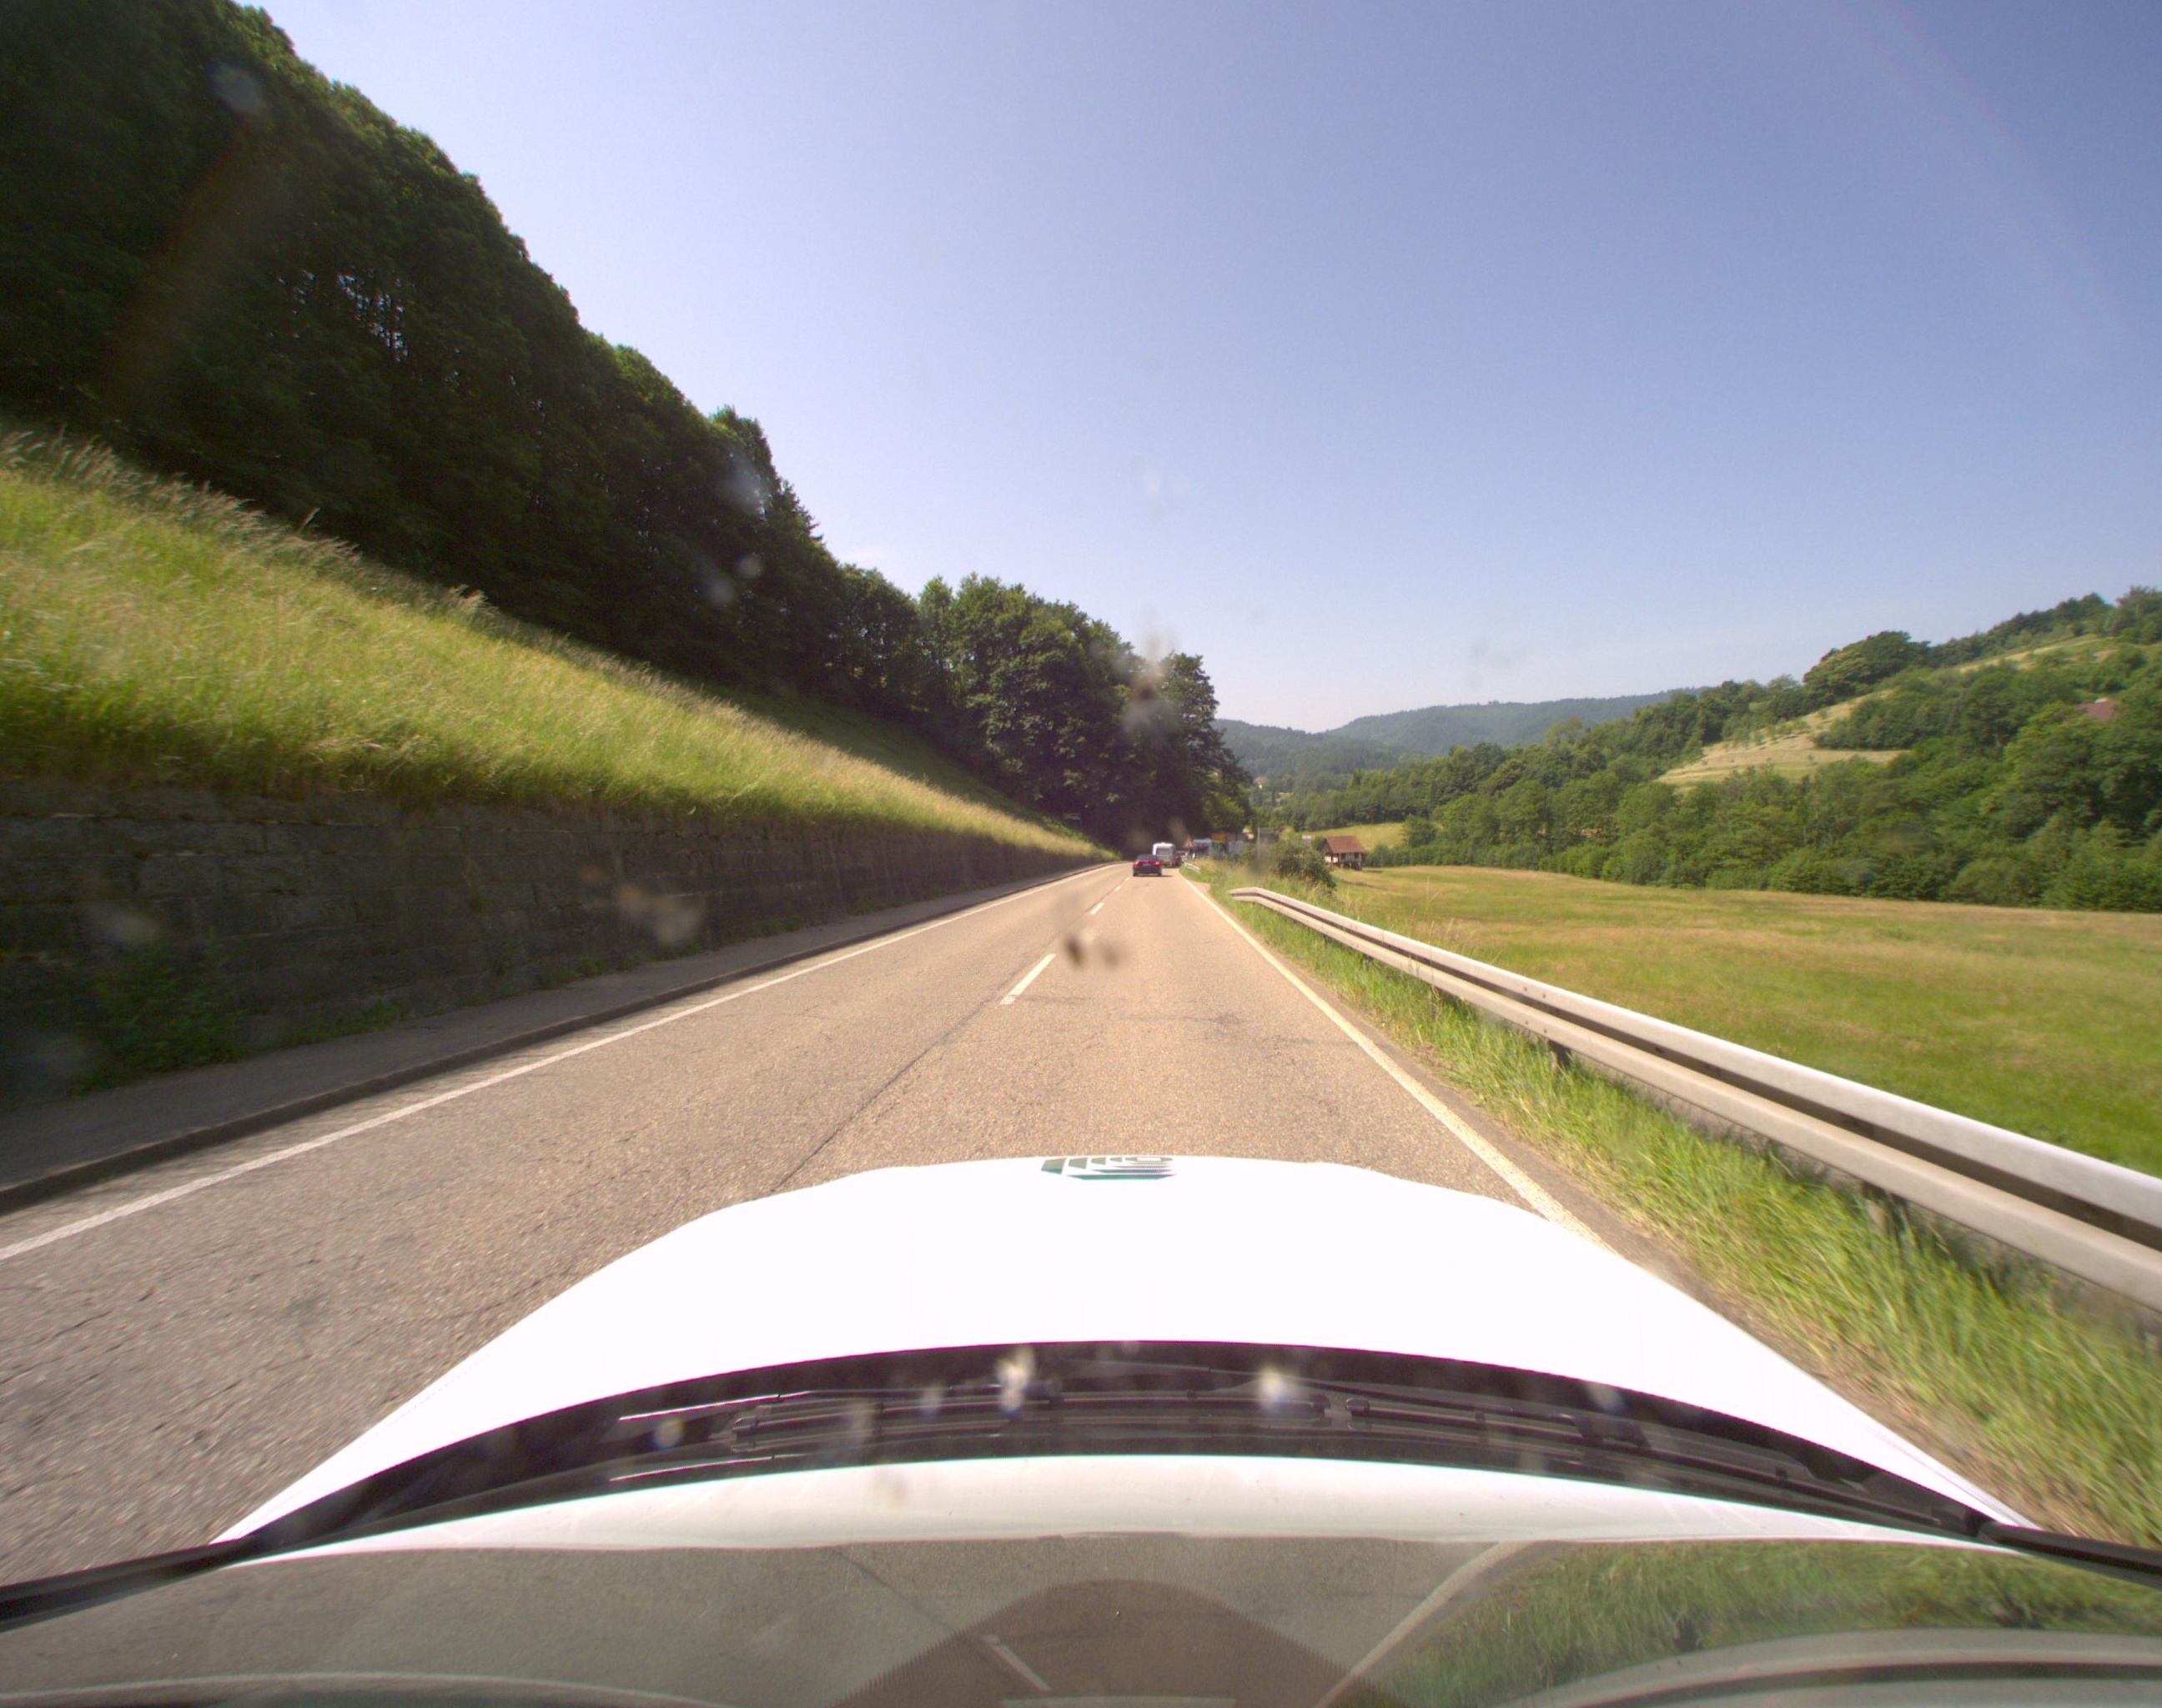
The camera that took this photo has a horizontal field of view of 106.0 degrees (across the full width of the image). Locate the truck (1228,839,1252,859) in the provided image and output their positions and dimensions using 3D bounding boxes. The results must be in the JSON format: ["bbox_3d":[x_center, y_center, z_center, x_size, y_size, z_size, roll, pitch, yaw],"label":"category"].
[{"bbox_3d":[23.703,-0.686,121.149,2.218,2.804,6.264,1,0,22],"label":"truck"}]

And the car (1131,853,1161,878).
[{"bbox_3d":[4.012,0.689,50.483,1.763,1.335,3.772,1,2,4],"label":"car"}]

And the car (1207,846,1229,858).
[{"bbox_3d":[18.168,-0.339,108.041,1.976,1.463,4.022,3,2,23],"label":"car"}]

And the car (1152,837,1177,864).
[{"bbox_3d":[7.760,-0.368,75.312,1.982,2.352,4.927,1,2,9],"label":"car"}]

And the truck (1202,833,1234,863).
[{"bbox_3d":[21.030,-0.959,124.492,3.160,4.396,6.609,2,2,24],"label":"truck"}]

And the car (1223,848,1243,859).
[{"bbox_3d":[21.403,-0.133,114.638,1.771,1.463,4.023,3,2,24],"label":"car"}]

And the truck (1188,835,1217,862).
[{"bbox_3d":[14.997,-0.717,99.978,2.771,2.997,6.894,3,2,14],"label":"truck"}]

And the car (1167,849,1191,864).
[{"bbox_3d":[10.654,0.245,88.049,1.979,1.484,4.016,3,1,14],"label":"car"}]
